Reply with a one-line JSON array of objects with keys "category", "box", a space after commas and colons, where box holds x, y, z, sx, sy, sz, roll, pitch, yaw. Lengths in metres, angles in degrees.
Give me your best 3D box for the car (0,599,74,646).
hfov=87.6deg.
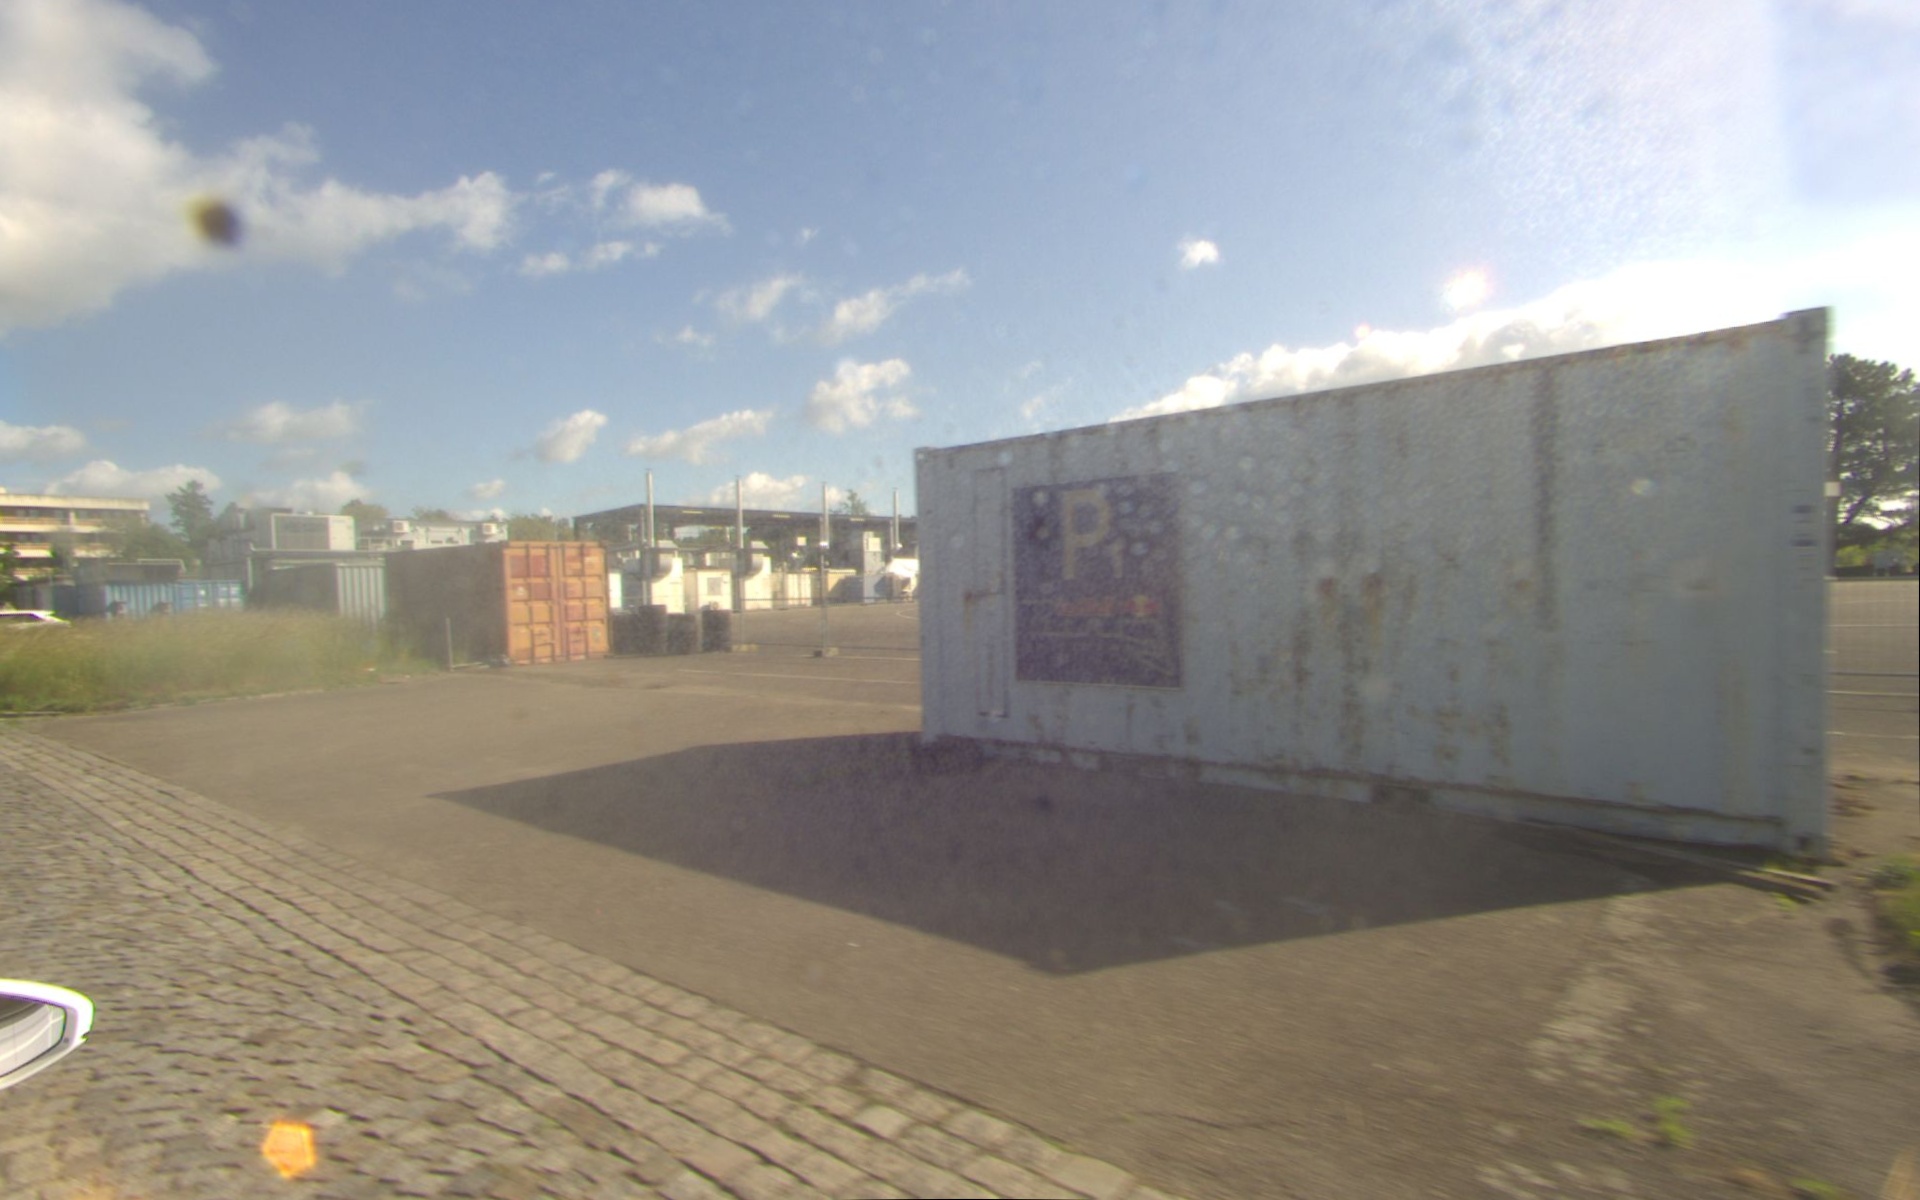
[{"category": "car", "box": [-37.366, 0.894, 38.551, 1.852, 1.700, 4.567, 0, 2, 39]}]
